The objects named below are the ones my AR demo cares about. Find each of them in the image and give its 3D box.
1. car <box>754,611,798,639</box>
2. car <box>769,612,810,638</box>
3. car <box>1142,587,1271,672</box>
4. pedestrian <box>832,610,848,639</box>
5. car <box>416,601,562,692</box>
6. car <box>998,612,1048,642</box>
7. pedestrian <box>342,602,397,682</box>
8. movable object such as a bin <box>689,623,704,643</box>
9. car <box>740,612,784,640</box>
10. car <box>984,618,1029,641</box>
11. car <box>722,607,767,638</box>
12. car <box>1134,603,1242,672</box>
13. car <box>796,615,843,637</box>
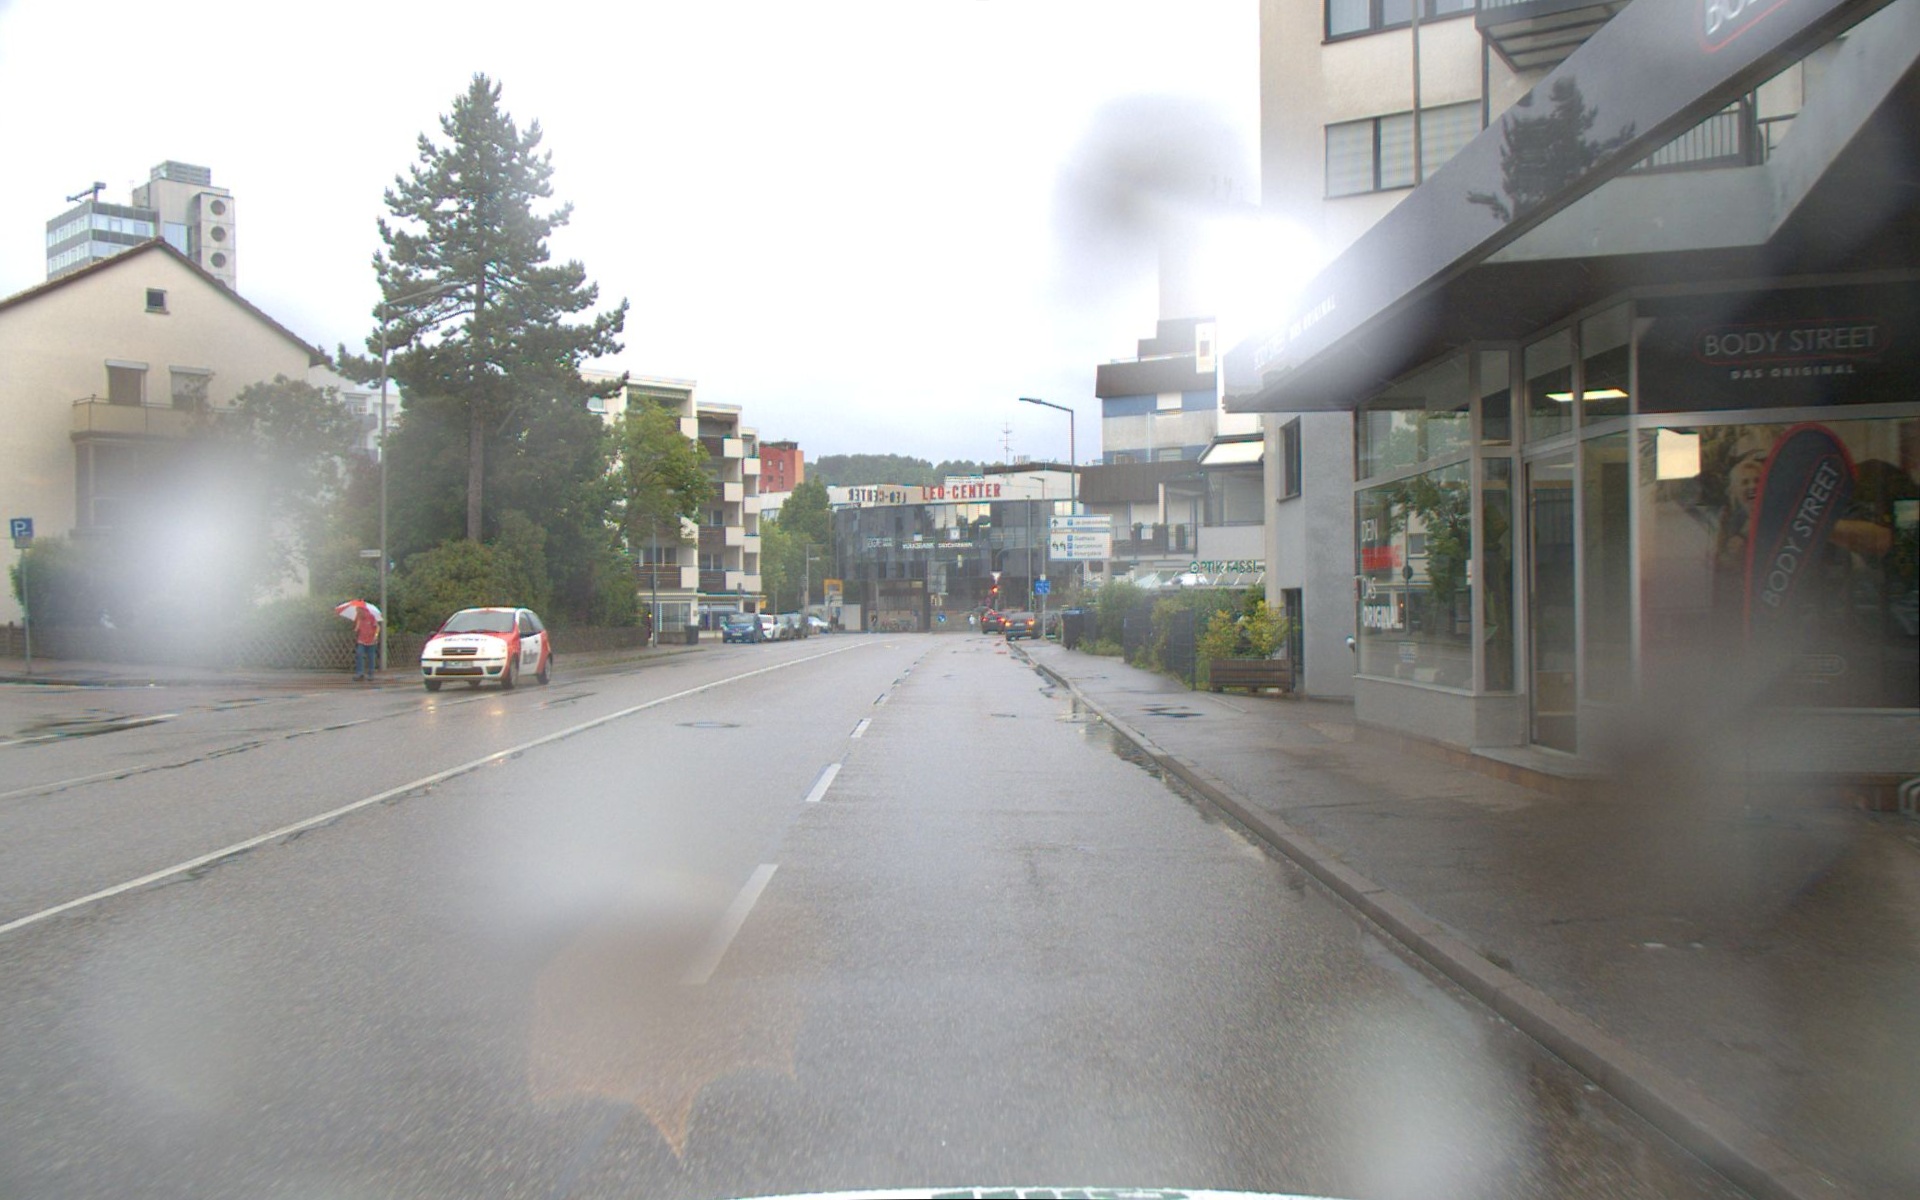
[{"bbox_3d":[-10.748,1.462,96.998,1.894,1.569,4.522,0,0,2],"label":"car"},{"bbox_3d":[-10.554,1.519,102.663,1.894,1.569,4.274,0,0,2],"label":"car"},{"bbox_3d":[5.643,0.648,38.469,1.954,1.817,4.686,-1,0,-4],"label":"car"},{"bbox_3d":[-8.665,1.752,119.481,0.733,2.049,0.921,3,-1,23],"label":"pedestrian"},{"bbox_3d":[-8.709,0.807,30.908,1.664,1.433,3.998,-3,1,-2],"label":"car"},{"bbox_3d":[3.461,1.489,90.072,1.951,1.560,4.650,0,-2,12],"label":"car"},{"bbox_3d":[-12.379,0.872,34.693,0.852,1.635,1.101,0,-1,-7],"label":"pedestrian"},{"bbox_3d":[-13.028,1.624,81.789,0.634,0.983,0.683,-1,-1,2],"label":"movable object such as a bin"},{"bbox_3d":[-10.968,1.417,91.863,1.658,1.490,4.685,0,0,2],"label":"car"},{"bbox_3d":[3.078,1.941,109.469,1.767,1.444,4.001,-1,-1,20],"label":"car"},{"bbox_3d":[-11.154,1.155,85.973,1.617,1.547,4.325,0,0,2],"label":"car"},{"bbox_3d":[7.249,1.152,52.178,1.954,2.049,4.775,-1,0,26],"label":"car"},{"bbox_3d":[-11.801,2.149,138.542,1.977,1.538,4.380,3,1,-35],"label":"car"}]
